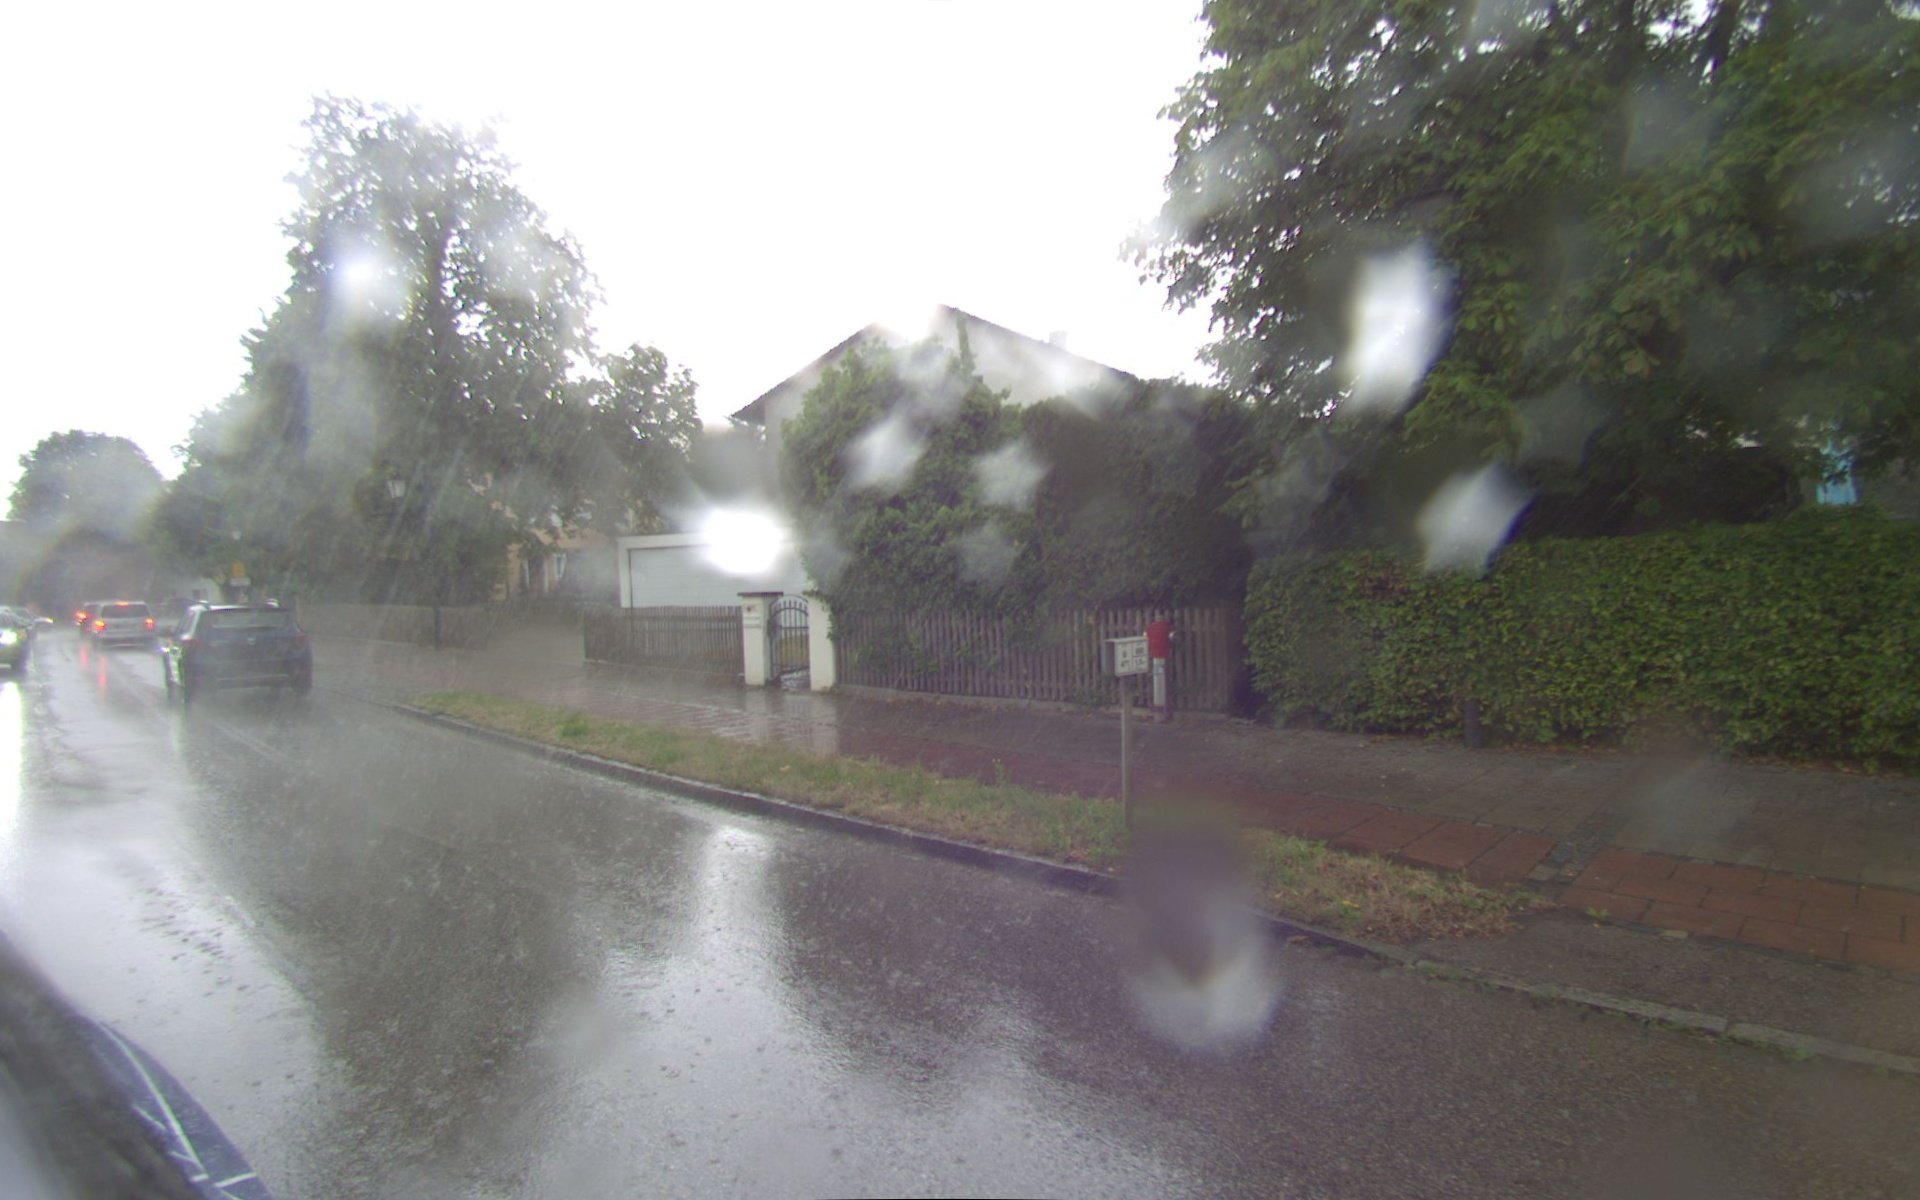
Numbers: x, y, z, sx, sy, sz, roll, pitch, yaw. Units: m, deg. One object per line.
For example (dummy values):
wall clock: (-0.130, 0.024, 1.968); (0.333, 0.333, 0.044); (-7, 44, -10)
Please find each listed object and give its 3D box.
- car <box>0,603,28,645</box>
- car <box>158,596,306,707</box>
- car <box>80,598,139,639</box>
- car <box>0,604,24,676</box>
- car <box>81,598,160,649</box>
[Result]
car: (-37.675, 0.950, 39.465); (1.845, 1.532, 4.967); (-4, 2, -42)
car: (-12.104, 0.780, 16.744); (1.568, 1.622, 3.542); (0, -1, -43)
car: (-38.673, 0.786, 45.991); (1.899, 1.757, 4.197); (-1, 1, -42)
car: (-24.560, 0.990, 25.124); (1.845, 1.624, 4.967); (-4, 3, -42)
car: (-29.584, 0.811, 35.621); (4.002, 1.690, 1.733); (-1, -1, 44)
